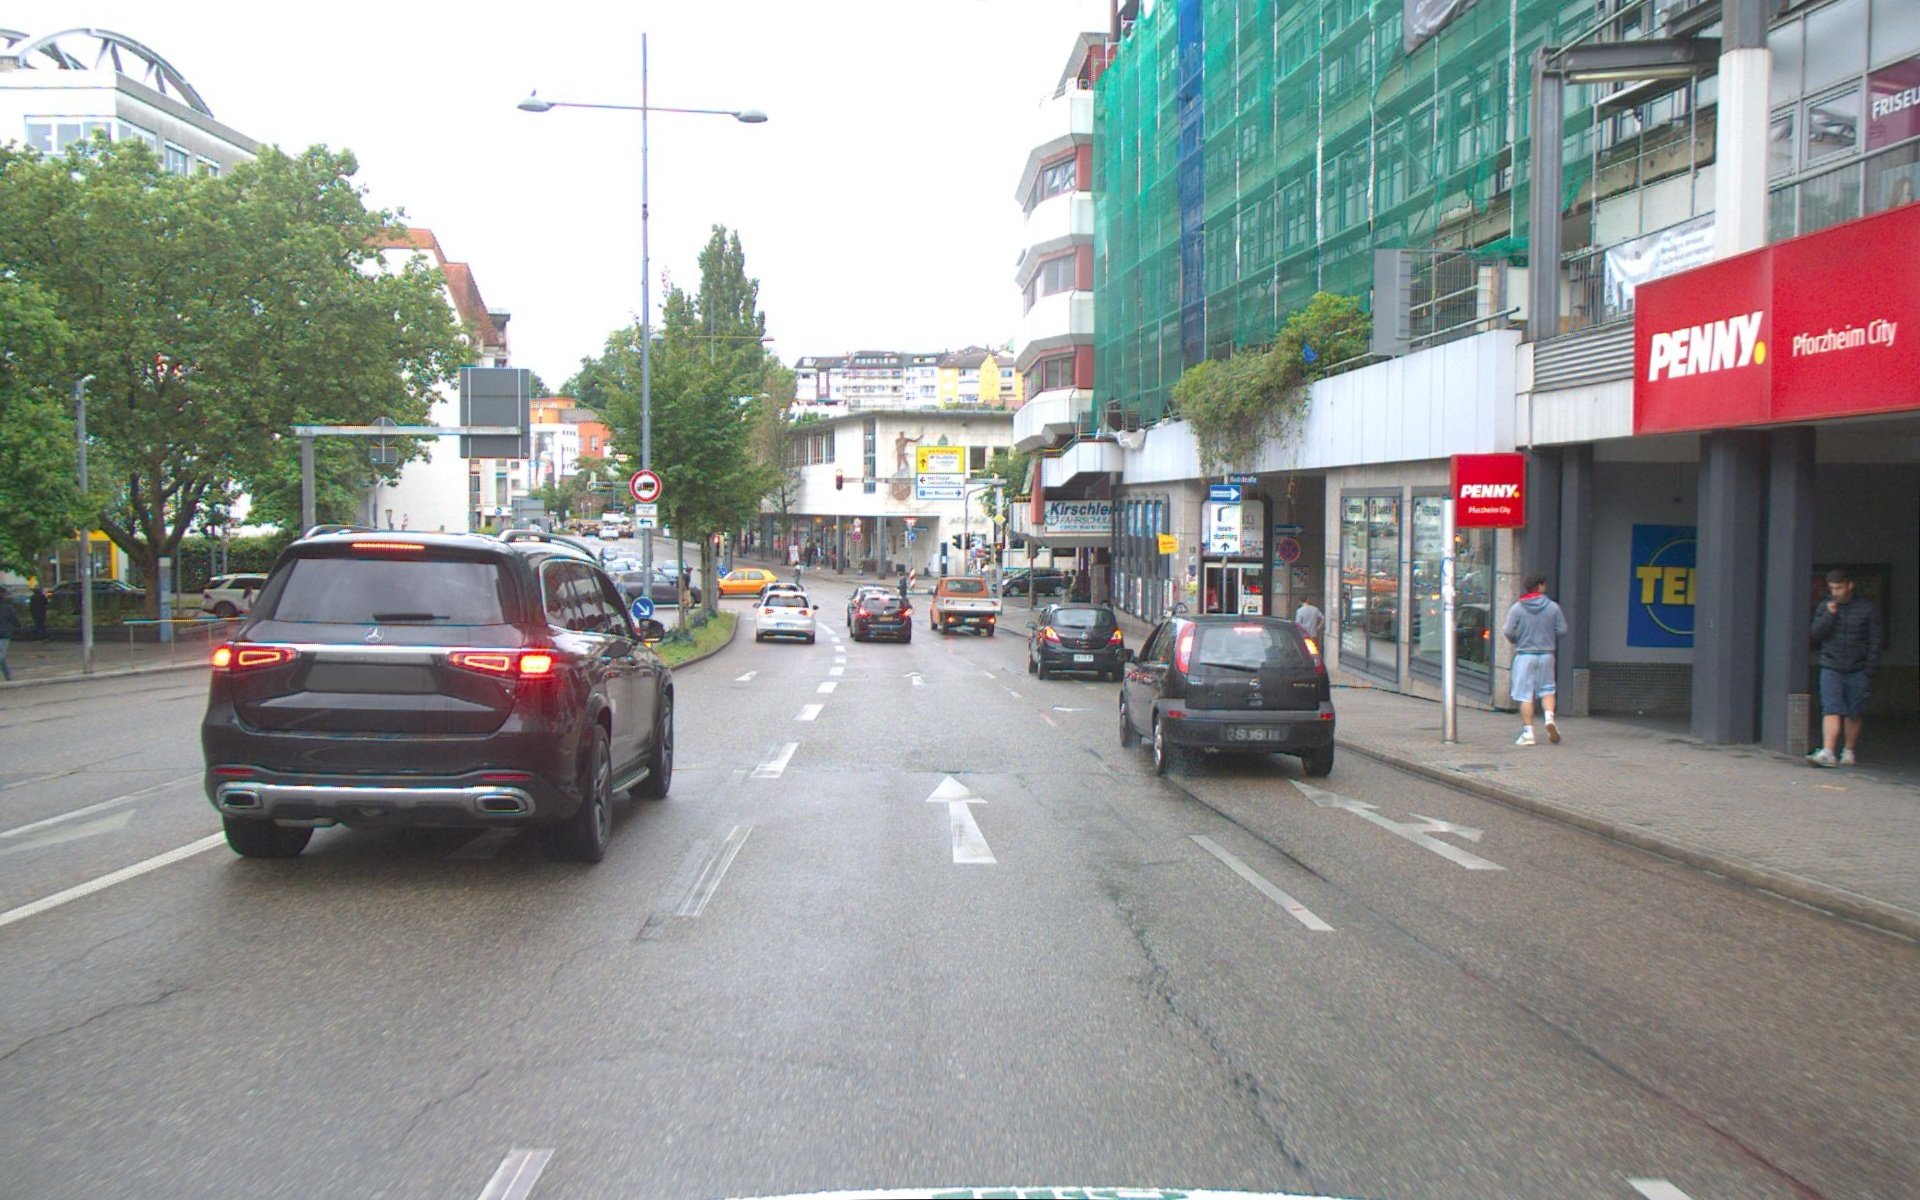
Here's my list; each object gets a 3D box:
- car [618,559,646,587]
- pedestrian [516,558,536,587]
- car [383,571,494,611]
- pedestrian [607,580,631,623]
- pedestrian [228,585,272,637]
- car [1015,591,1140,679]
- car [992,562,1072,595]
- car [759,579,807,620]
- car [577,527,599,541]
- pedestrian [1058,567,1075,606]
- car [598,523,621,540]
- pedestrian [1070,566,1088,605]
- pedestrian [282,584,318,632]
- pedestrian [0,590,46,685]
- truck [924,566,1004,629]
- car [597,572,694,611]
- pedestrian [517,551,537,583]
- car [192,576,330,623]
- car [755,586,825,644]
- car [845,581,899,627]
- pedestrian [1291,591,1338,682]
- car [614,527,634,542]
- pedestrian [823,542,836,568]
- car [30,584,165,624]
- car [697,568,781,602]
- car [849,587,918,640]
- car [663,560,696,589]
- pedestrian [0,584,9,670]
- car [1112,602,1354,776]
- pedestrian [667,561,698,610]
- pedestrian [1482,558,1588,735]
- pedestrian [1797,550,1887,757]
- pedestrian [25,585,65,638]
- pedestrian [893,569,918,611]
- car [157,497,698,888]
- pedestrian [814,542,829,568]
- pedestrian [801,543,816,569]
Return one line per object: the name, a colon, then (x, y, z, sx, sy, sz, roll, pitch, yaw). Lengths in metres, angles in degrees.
car: (-20.978, -1.724, 105.743, 1.676, 1.750, 3.987, 0, 1, -13)
pedestrian: (-24.701, -1.573, 94.155, 0.554, 1.636, 0.919, -1, 1, 45)
car: (-23.090, -0.393, 73.244, 4.611, 1.672, 1.777, 1, 0, -19)
pedestrian: (-13.962, 0.063, 67.736, 0.818, 1.752, 0.818, -1, 1, -1)
pedestrian: (-25.152, 0.394, 58.611, 0.929, 1.752, 1.015, -1, 3, 23)
car: (2.286, 0.648, 33.110, 1.912, 1.601, 3.997, 0, 1, -5)
car: (3.729, -1.090, 85.740, 3.759, 1.645, 1.765, 0, 0, -20)
car: (-6.767, -0.051, 62.977, 1.760, 1.494, 3.994, 0, 1, -7)
car: (-43.929, -7.742, 195.225, 1.728, 1.581, 3.538, 0, 1, -27)
pedestrian: (4.685, -0.600, 72.888, 0.566, 1.729, 0.648, -1, 0, -14)
car: (-38.105, -7.435, 179.774, 1.964, 1.624, 3.977, 0, 1, -20)
pedestrian: (5.269, -0.648, 73.231, 0.567, 1.729, 0.647, -1, 0, -18)
pedestrian: (-24.395, 0.278, 61.144, 0.928, 1.752, 0.760, -1, 1, 7)
pedestrian: (-17.822, 0.690, 31.005, 0.801, 1.743, 1.310, -1, 1, -11)
truck: (0.082, -0.132, 58.716, 2.142, 2.119, 5.595, 0, 1, -7)
car: (-13.853, -0.352, 72.751, 4.079, 1.686, 1.834, 0, 0, -15)
pedestrian: (-25.051, -1.900, 95.635, 0.617, 1.834, 0.899, -1, 1, 45)
car: (-28.854, -0.032, 68.453, 4.990, 1.790, 1.991, 1, 0, -17)
car: (-4.975, 0.402, 48.850, 1.911, 1.601, 3.997, 0, 1, -4)
car: (-3.264, 0.111, 60.963, 1.727, 1.569, 3.995, 0, 2, -7)
pedestrian: (6.623, 0.676, 30.885, 0.631, 1.678, 0.560, -2, -1, 38)
car: (-38.693, -7.576, 190.215, 1.803, 1.616, 3.854, 0, 1, -18)
pedestrian: (-9.398, -3.259, 119.282, 0.691, 1.834, 0.934, -1, 0, -18)
car: (-35.848, 0.149, 68.860, 4.623, 1.619, 1.991, 0, 0, -17)
car: (-10.921, -0.726, 81.771, 3.932, 1.645, 1.767, 0, 0, -16)
car: (-2.438, 0.399, 51.983, 1.778, 1.466, 3.993, 2, 1, -8)
car: (-15.707, -1.412, 92.744, 1.786, 1.576, 3.992, 0, 1, -9)
pedestrian: (-20.174, 0.562, 33.634, 0.953, 1.752, 1.090, -1, 1, 3)
car: (2.532, 0.769, 16.174, 1.682, 1.445, 3.769, 1, 0, -1)
pedestrian: (-11.153, -0.592, 66.539, 1.041, 1.915, 0.838, -1, 1, 2)
pedestrian: (5.873, 0.461, 16.940, 0.818, 1.752, 0.830, -1, 1, 4)
pedestrian: (7.668, 0.442, 14.391, 0.656, 1.745, 0.817, -1, 1, 28)
pedestrian: (-30.870, 0.378, 55.812, 0.741, 1.752, 0.953, -1, 1, 9)
pedestrian: (-2.319, -0.431, 70.851, 0.989, 1.752, 0.838, -1, 1, 0)
car: (-2.981, 0.432, 10.498, 2.046, 1.848, 4.790, 2, 1, -3)
pedestrian: (-9.870, -3.178, 117.617, 0.833, 1.834, 1.051, -1, 0, -19)
pedestrian: (-10.836, -3.170, 118.298, 0.786, 1.834, 0.913, -1, 0, -19)
